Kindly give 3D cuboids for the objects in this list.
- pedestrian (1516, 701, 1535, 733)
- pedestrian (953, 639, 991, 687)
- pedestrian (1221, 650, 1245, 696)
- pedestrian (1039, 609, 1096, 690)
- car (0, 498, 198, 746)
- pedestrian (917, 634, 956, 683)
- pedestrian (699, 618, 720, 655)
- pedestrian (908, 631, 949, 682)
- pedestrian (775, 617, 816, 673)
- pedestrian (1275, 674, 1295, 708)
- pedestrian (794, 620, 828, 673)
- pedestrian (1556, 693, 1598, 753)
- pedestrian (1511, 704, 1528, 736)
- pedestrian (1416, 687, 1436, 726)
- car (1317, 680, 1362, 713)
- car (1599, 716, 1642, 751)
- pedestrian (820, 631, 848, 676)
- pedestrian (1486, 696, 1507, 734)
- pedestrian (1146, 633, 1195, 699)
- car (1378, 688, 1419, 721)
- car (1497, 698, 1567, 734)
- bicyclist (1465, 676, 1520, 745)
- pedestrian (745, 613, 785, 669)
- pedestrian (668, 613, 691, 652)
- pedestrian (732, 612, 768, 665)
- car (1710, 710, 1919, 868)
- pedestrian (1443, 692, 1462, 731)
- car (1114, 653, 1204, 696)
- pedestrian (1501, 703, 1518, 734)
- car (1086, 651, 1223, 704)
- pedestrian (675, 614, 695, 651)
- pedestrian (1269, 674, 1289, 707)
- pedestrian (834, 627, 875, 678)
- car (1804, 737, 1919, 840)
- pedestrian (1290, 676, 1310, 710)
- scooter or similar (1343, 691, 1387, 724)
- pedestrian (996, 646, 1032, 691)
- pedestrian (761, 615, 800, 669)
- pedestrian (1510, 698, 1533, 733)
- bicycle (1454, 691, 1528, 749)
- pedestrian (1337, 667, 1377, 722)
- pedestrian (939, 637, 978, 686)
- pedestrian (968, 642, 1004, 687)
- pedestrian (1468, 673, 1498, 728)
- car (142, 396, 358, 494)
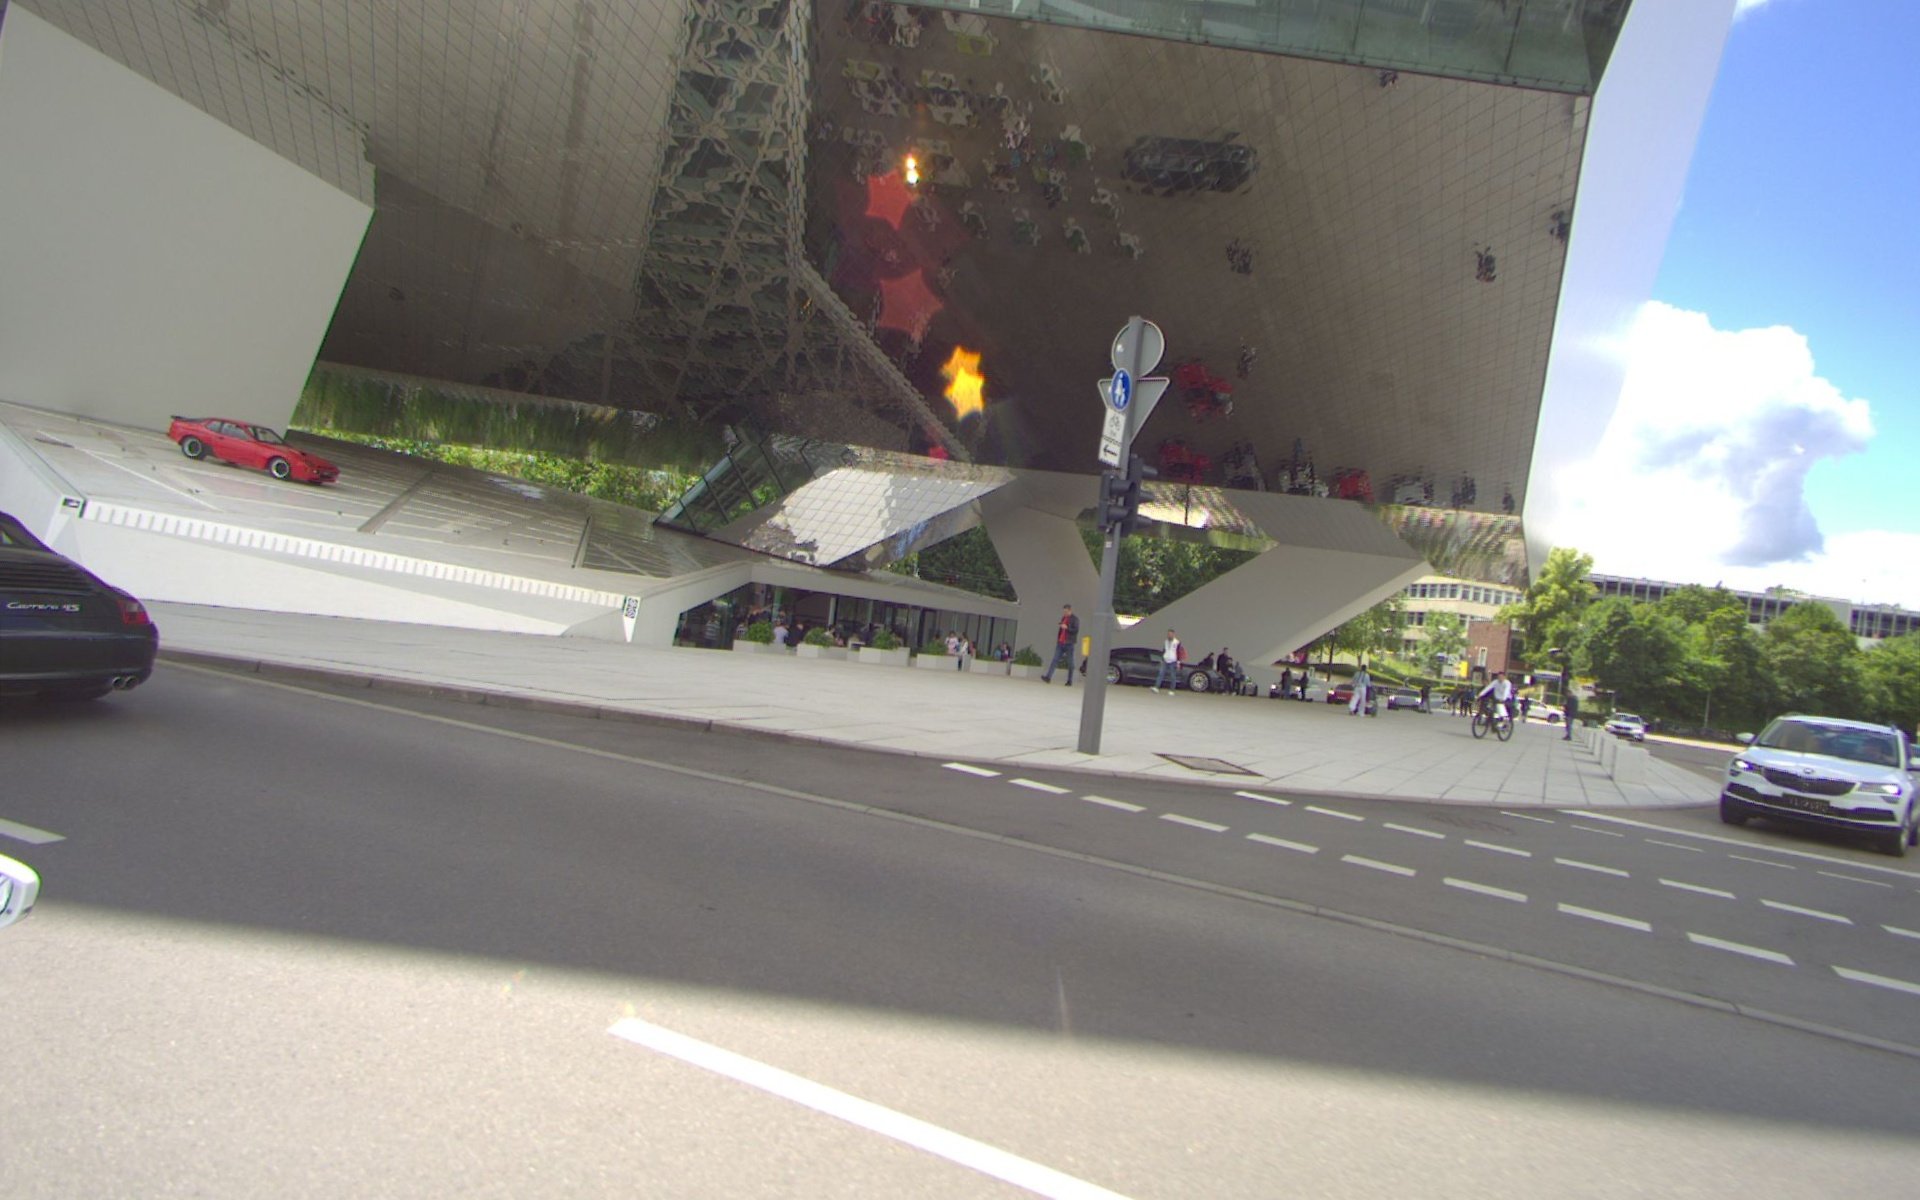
[{"bbox_3d":[37.923,7.835,67.448,0.812,2.036,0.778,7,-2,18],"label":"pedestrian"},{"bbox_3d":[0.432,2.287,36.438,0.908,1.590,0.829,6,-2,33],"label":"pedestrian"},{"bbox_3d":[12.759,3.397,46.979,0.763,2.036,0.828,6,-2,24],"label":"pedestrian"},{"bbox_3d":[2.651,1.212,24.662,0.908,1.846,0.829,6,-2,33],"label":"pedestrian"},{"bbox_3d":[-7.113,-0.102,6.208,3.925,1.341,1.841,8,0,18],"label":"car"},{"bbox_3d":[-0.833,2.088,35.788,0.908,1.590,0.829,6,-2,33],"label":"pedestrian"},{"bbox_3d":[-9.116,1.331,36.617,0.468,1.267,0.559,8,-2,-25],"label":"pedestrian"},{"bbox_3d":[-1.084,1.942,34.646,0.908,1.590,0.829,6,-2,33],"label":"pedestrian"},{"bbox_3d":[-5.096,1.384,31.160,0.911,1.590,0.827,8,-2,-21],"label":"pedestrian"},{"bbox_3d":[17.588,4.931,54.364,0.763,1.758,0.828,6,-2,24],"label":"pedestrian"},{"bbox_3d":[-4.791,1.488,32.364,0.781,1.590,0.694,7,-2,4],"label":"pedestrian"},{"bbox_3d":[22.254,4.430,36.291,0.764,2.036,0.827,7,-2,-9],"label":"pedestrian"},{"bbox_3d":[37.529,8.030,67.482,0.763,2.036,0.828,6,-2,24],"label":"pedestrian"},{"bbox_3d":[25.843,5.895,55.782,0.764,2.036,0.826,6,-2,32],"label":"pedestrian"},{"bbox_3d":[21.913,5.602,57.986,1.855,1.572,4.000,6,-3,27],"label":"car"},{"bbox_3d":[37.497,7.576,57.150,1.857,1.661,3.994,6,-3,34],"label":"car"},{"bbox_3d":[-4.050,1.718,32.370,0.633,1.333,0.694,7,-2,1],"label":"pedestrian"},{"bbox_3d":[29.913,6.399,56.074,0.763,2.036,0.828,6,-2,24],"label":"pedestrian"},{"bbox_3d":[5.849,1.840,27.978,0.908,1.695,0.829,6,-2,33],"label":"pedestrian"},{"bbox_3d":[25.216,6.029,57.797,1.855,1.572,4.000,6,-3,27],"label":"car"},{"bbox_3d":[42.377,8.601,74.671,4.135,2.036,2.001,6,-2,23],"label":"car"},{"bbox_3d":[14.100,2.930,26.628,0.927,1.672,0.767,8,-2,-31],"label":"bicyclist"},{"bbox_3d":[-5.987,1.251,30.930,0.820,1.590,0.918,8,-2,-25],"label":"pedestrian"},{"bbox_3d":[-9.600,1.114,34.470,0.552,1.267,0.474,7,-2,-8],"label":"pedestrian"},{"bbox_3d":[-6.688,1.216,32.055,0.819,1.590,0.920,8,-2,-20],"label":"pedestrian"},{"bbox_3d":[11.692,2.416,13.452,3.972,1.568,1.818,7,-2,-42],"label":"car"},{"bbox_3d":[27.526,6.229,56.235,0.763,2.036,0.828,6,-2,24],"label":"pedestrian"},{"bbox_3d":[9.836,3.673,49.698,3.961,1.566,1.985,9,-3,-32],"label":"car"},{"bbox_3d":[37.573,8.103,68.749,0.763,2.036,0.828,6,-2,24],"label":"pedestrian"},{"bbox_3d":[6.912,2.749,36.060,4.589,1.234,2.003,7,-3,9],"label":"car"},{"bbox_3d":[-10.103,1.195,36.970,0.468,1.267,0.559,8,-2,-25],"label":"pedestrian"},{"bbox_3d":[17.853,5.065,56.231,0.763,1.758,0.828,6,-2,26],"label":"pedestrian"},{"bbox_3d":[-3.596,1.780,34.326,0.908,1.590,0.829,6,-2,33],"label":"pedestrian"},{"bbox_3d":[16.248,3.302,17.750,1.811,1.399,4.145,8,-2,39],"label":"car"},{"bbox_3d":[18.835,5.169,55.703,0.763,1.758,0.827,6,-2,27],"label":"pedestrian"},{"bbox_3d":[12.759,3.385,31.671,0.935,0.849,1.111,6,-3,38],"label":"scooter or similar"},{"bbox_3d":[2.060,2.611,38.425,0.910,1.590,0.828,6,-2,40],"label":"pedestrian"},{"bbox_3d":[-5.757,1.351,32.238,0.911,1.590,0.827,8,-2,-21],"label":"pedestrian"},{"bbox_3d":[35.001,7.200,62.712,0.814,2.036,0.776,8,-2,-11],"label":"pedestrian"},{"bbox_3d":[14.042,3.171,26.592,1.907,1.288,0.775,9,-3,-31],"label":"bicycle"},{"bbox_3d":[12.248,2.904,31.020,0.792,1.558,0.785,6,-2,38],"label":"pedestrian"},{"bbox_3d":[-0.050,2.161,35.275,0.908,1.590,0.829,6,-2,33],"label":"pedestrian"},{"bbox_3d":[1.010,2.485,38.715,0.910,1.590,0.828,6,-2,40],"label":"pedestrian"},{"bbox_3d":[20.190,3.883,38.864,0.763,2.036,0.828,6,-2,24],"label":"pedestrian"},{"bbox_3d":[-19.763,-4.285,28.170,4.437,1.411,1.997,15,2,-1],"label":"car"}]
